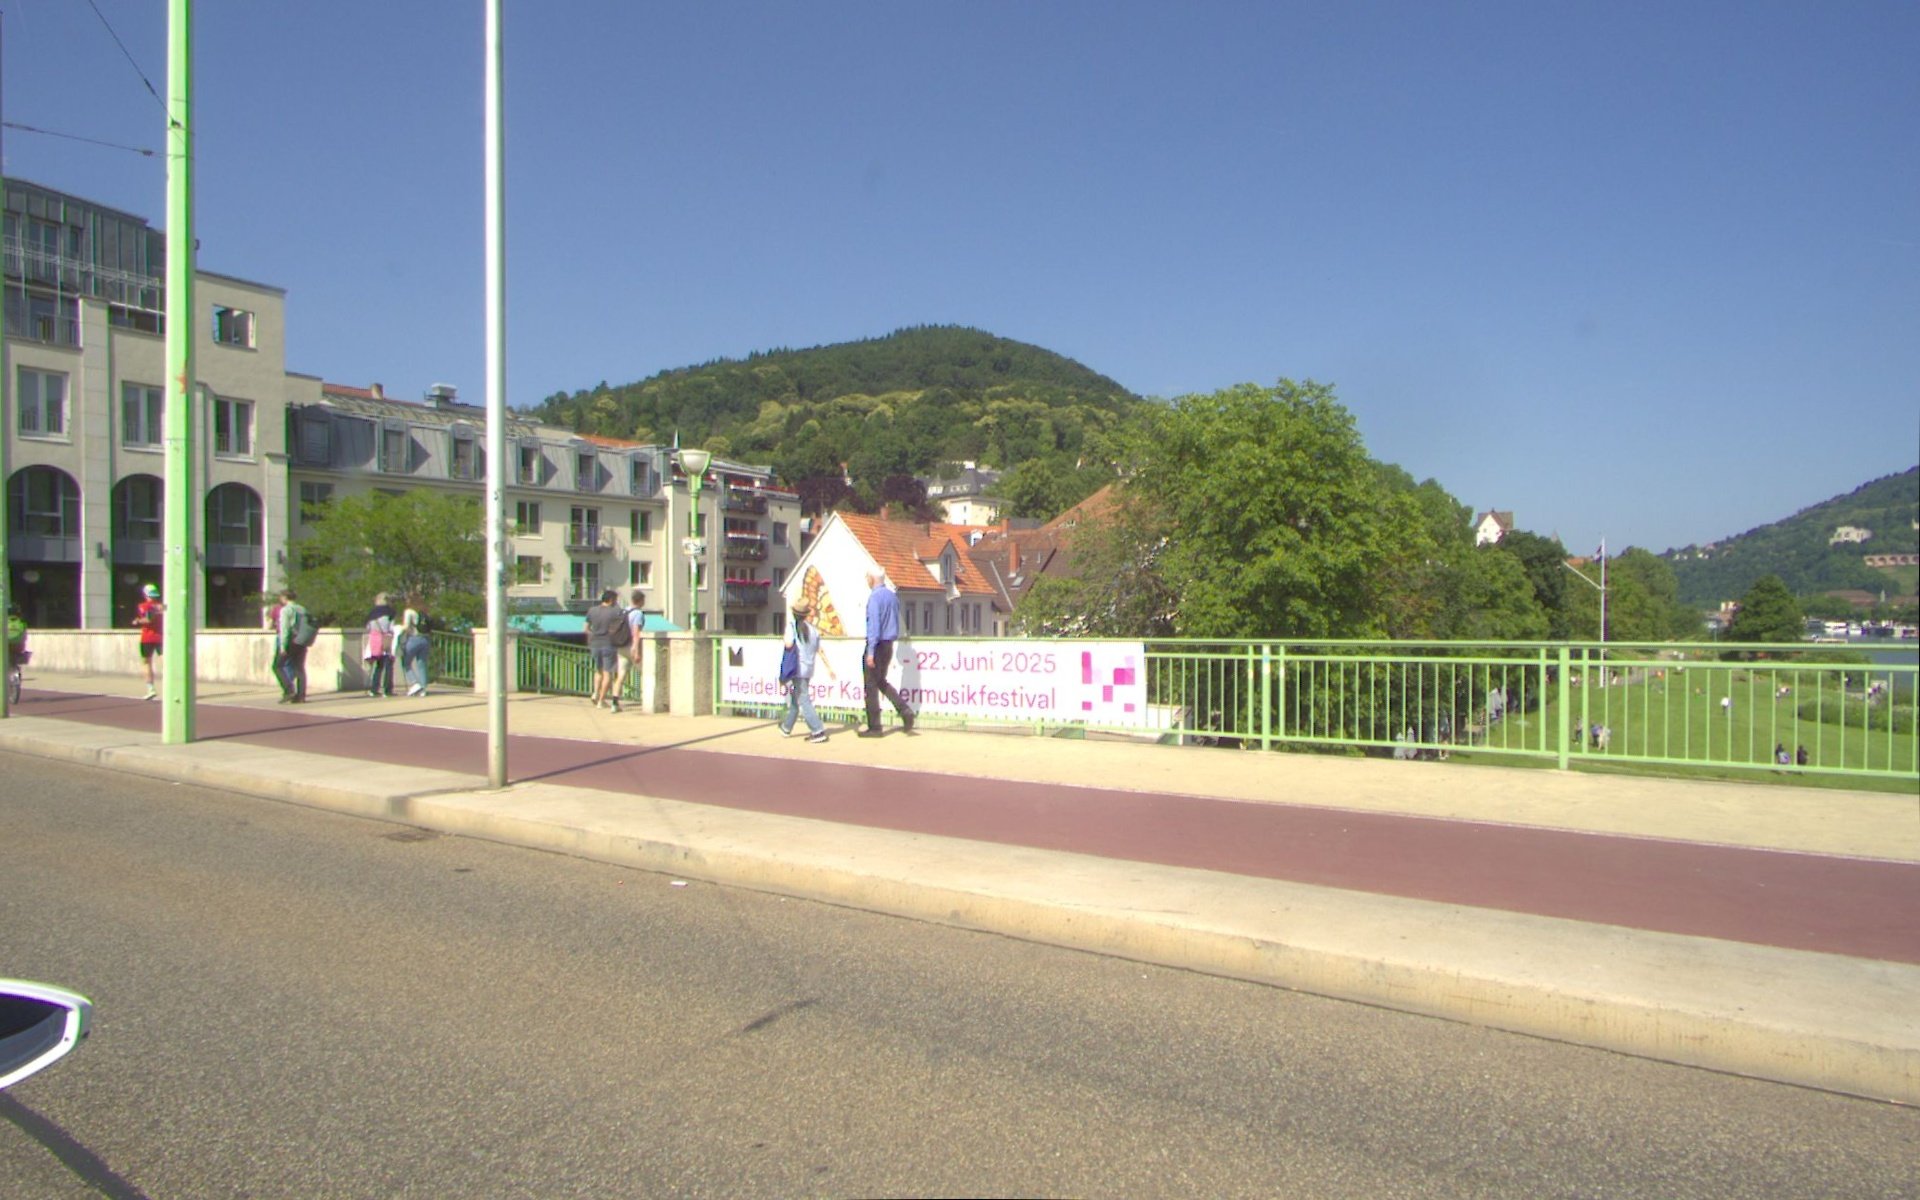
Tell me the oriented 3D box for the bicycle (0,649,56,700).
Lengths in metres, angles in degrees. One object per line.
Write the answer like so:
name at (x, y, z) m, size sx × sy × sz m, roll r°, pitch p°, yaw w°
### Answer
bicycle at (-16.097, 1.251, 17.040) m, size 1.840 × 0.776 × 0.592 m, roll -1°, pitch 1°, yaw 33°

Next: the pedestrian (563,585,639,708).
pedestrian at (-5.279, 0.658, 14.778) m, size 0.727 × 1.741 × 1.015 m, roll -1°, pitch 1°, yaw -2°

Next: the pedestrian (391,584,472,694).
pedestrian at (-8.808, 0.626, 16.701) m, size 1.001 × 1.770 × 0.738 m, roll 0°, pitch 1°, yaw 31°

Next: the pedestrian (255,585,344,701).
pedestrian at (-10.338, 0.655, 15.672) m, size 1.058 × 1.741 × 0.753 m, roll 0°, pitch 1°, yaw 32°

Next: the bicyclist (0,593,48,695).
bicyclist at (-15.965, 0.726, 16.938) m, size 0.692 × 1.672 × 0.603 m, roll 0°, pitch 1°, yaw 33°

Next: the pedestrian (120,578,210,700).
pedestrian at (-13.273, 0.633, 16.723) m, size 1.111 × 1.950 × 0.809 m, roll 0°, pitch 1°, yaw 32°

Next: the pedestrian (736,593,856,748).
pedestrian at (-1.727, 0.708, 10.595) m, size 0.919 × 1.550 × 0.827 m, roll 0°, pitch 1°, yaw 32°

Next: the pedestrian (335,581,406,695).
pedestrian at (-9.667, 0.605, 16.421) m, size 0.734 × 1.801 × 1.005 m, roll -2°, pitch 2°, yaw -45°

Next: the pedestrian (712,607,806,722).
pedestrian at (-3.329, 1.041, 16.677) m, size 0.965 × 1.801 × 1.202 m, roll 0°, pitch 1°, yaw 27°

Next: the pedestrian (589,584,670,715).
pedestrian at (-4.548, 0.660, 13.841) m, size 0.727 × 1.741 × 1.016 m, roll 0°, pitch 0°, yaw 4°

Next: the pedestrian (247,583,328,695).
pedestrian at (-11.277, 0.631, 16.805) m, size 1.001 × 1.826 × 0.737 m, roll 0°, pitch 1°, yaw 32°

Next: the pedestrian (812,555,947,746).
pedestrian at (-0.860, 0.517, 10.779) m, size 1.121 × 1.923 × 0.924 m, roll 0°, pitch 1°, yaw 32°
